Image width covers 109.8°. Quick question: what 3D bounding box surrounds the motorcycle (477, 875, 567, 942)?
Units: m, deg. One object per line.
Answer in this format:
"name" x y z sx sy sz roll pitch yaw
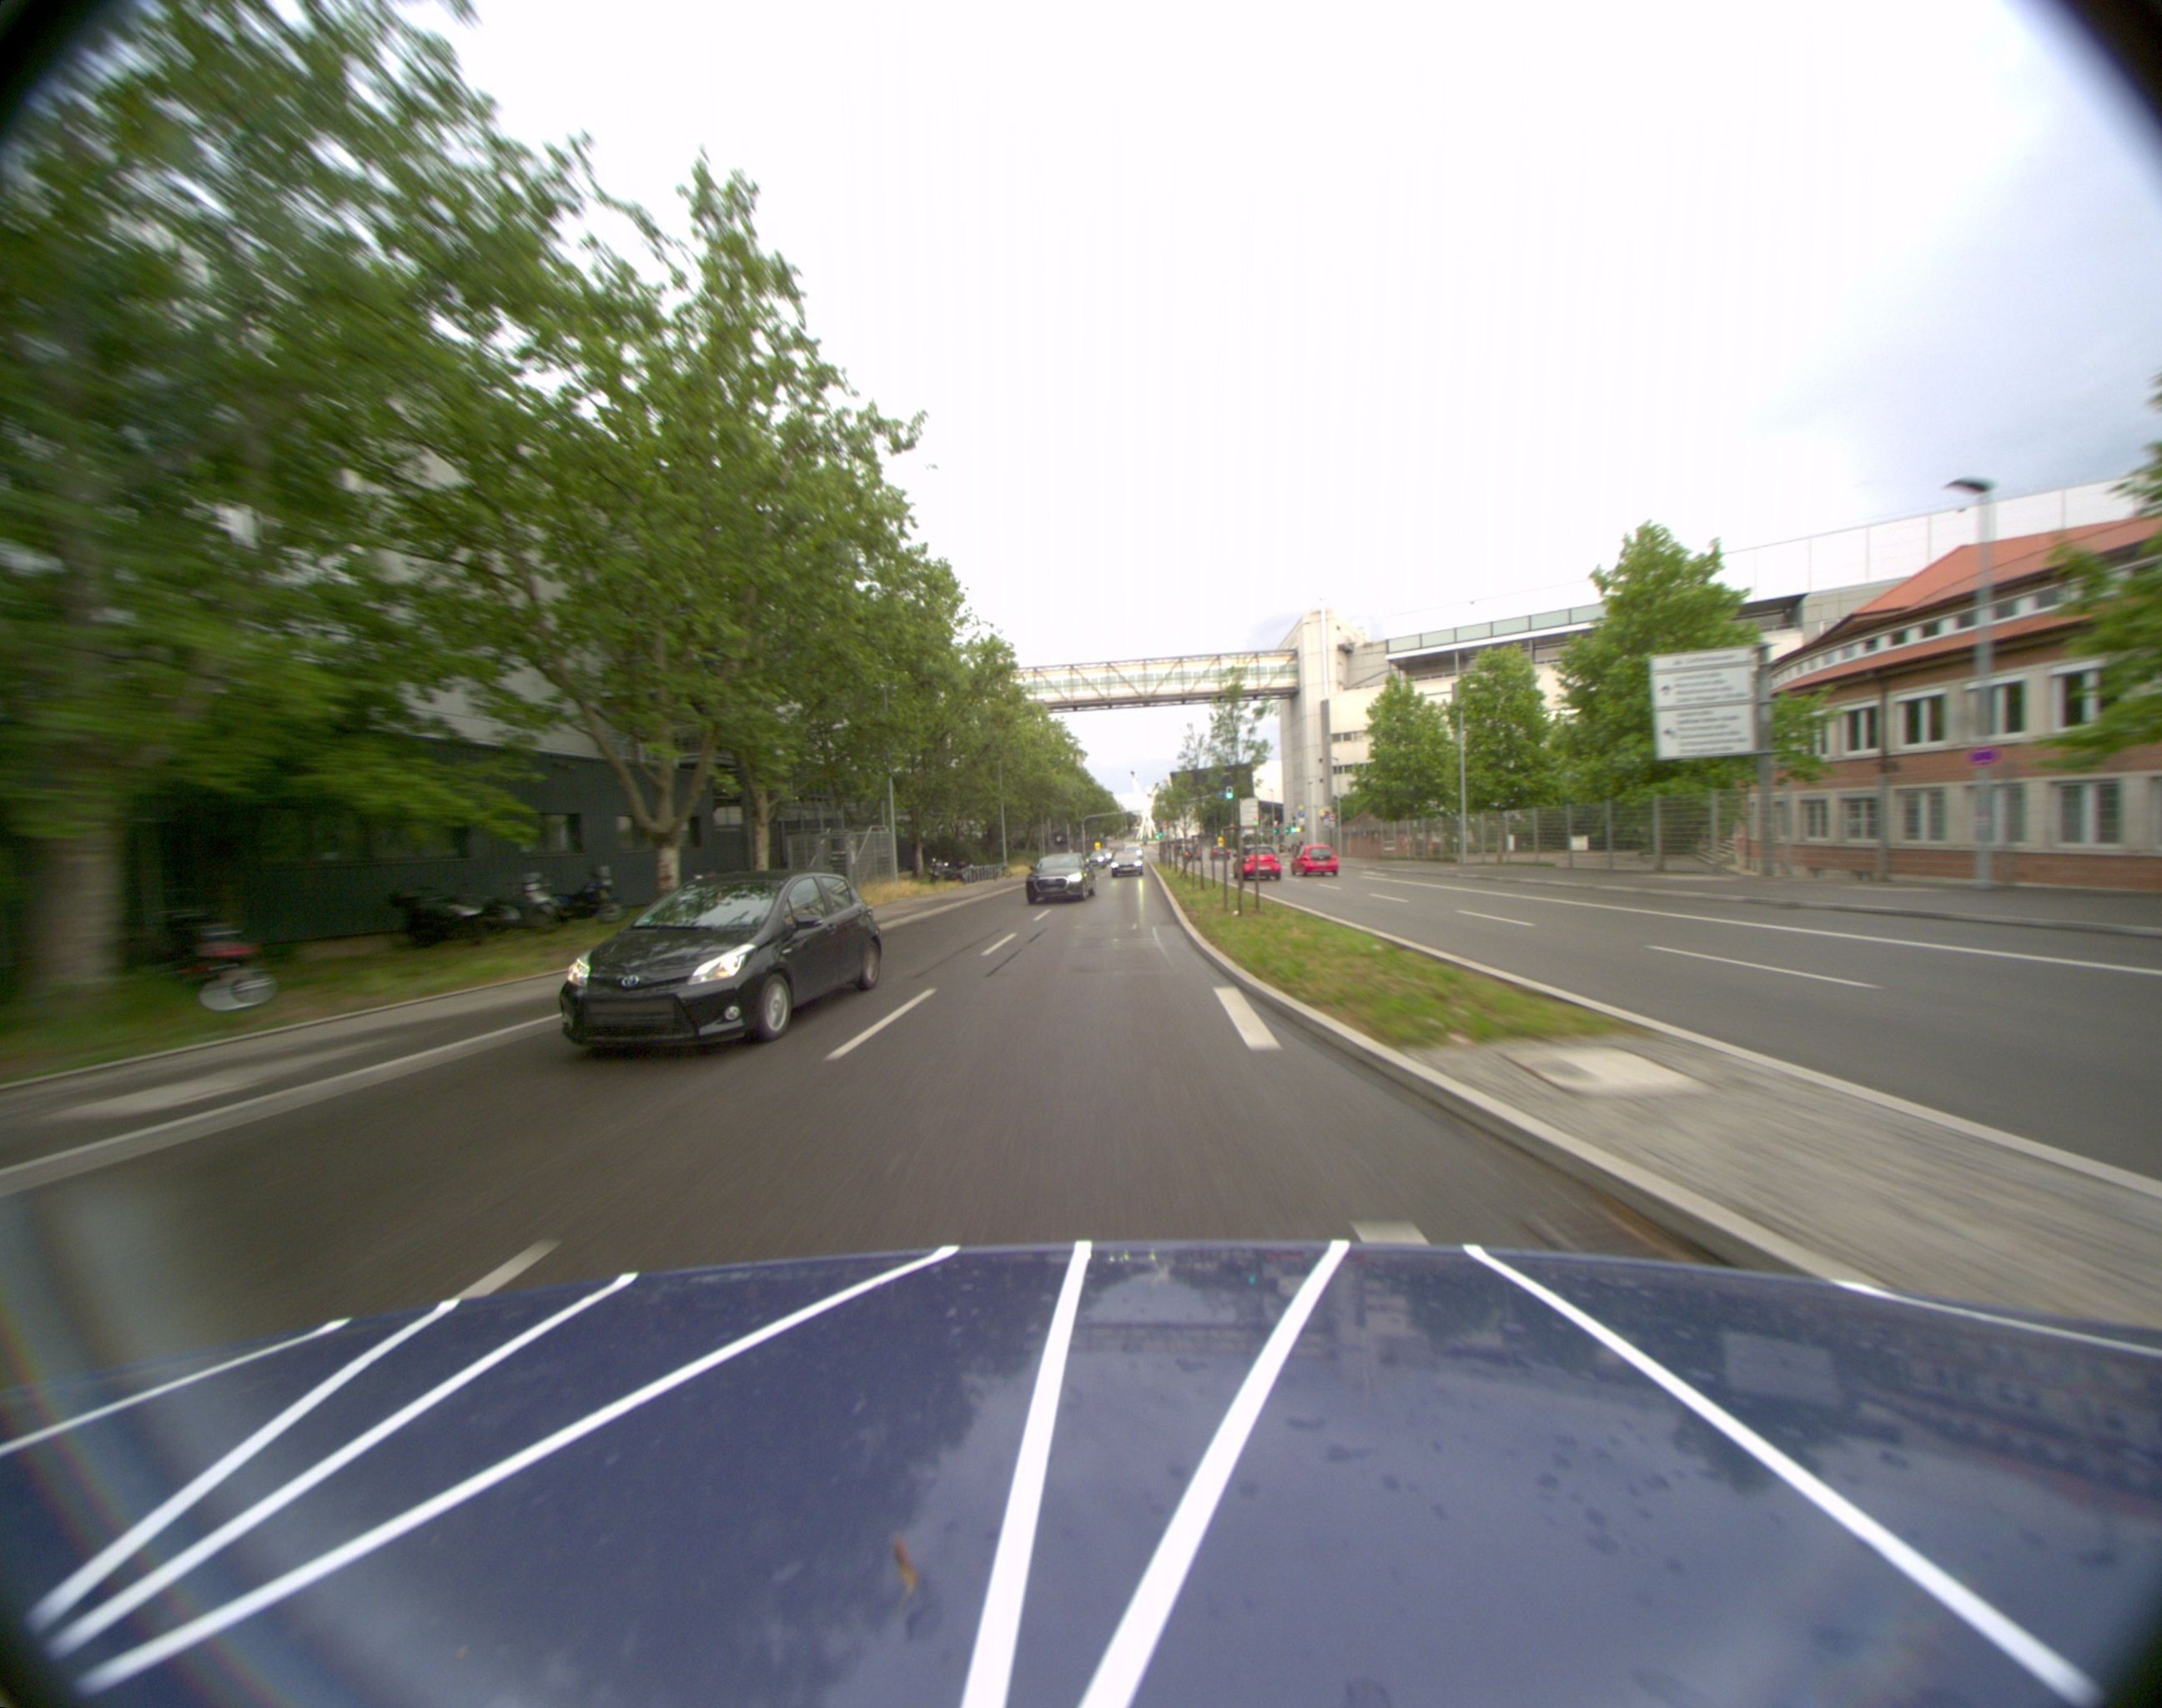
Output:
"motorcycle" -12.513 1.207 17.032 1.502 1.357 0.506 -4 1 -1

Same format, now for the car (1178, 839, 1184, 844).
"car" 32.226 -4.174 244.867 1.775 1.580 4.486 -1 1 6

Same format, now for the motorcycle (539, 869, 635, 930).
"motorcycle" -12.294 1.131 18.941 1.933 1.357 0.506 -4 1 -1

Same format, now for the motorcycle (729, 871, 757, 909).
"motorcycle" -10.998 1.154 24.797 0.478 1.139 1.895 -5 1 -16

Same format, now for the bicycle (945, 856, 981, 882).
"bicycle" -6.353 0.805 41.101 1.864 1.340 0.447 -2 1 -8

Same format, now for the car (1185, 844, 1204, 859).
"car" 11.534 -0.258 77.399 1.581 1.396 4.112 -1 1 5

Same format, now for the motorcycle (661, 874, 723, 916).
"motorcycle" -11.757 1.251 22.988 1.641 1.139 0.560 -4 1 15

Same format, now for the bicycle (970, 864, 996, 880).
"bicycle" -6.019 1.100 46.729 1.555 0.953 0.393 -2 1 4

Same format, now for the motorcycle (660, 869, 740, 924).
"motorcycle" -8.917 0.996 17.794 1.656 1.143 0.493 -4 1 12

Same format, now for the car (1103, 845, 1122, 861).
"car" 3.526 -0.092 84.078 1.819 1.571 4.333 -3 1 4

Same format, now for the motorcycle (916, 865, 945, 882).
"motorcycle" -9.446 1.205 47.696 1.611 0.996 0.577 -2 1 4

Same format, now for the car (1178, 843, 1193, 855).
"car" 13.898 -0.688 101.428 1.775 1.580 4.486 -1 1 6

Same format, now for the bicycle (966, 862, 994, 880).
"bicycle" -6.030 1.018 45.257 1.555 0.999 0.393 -2 1 4

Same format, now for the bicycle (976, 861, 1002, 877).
"bicycle" -5.846 0.943 48.054 1.555 0.999 0.393 -2 1 4

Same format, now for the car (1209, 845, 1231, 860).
"car" 14.351 -0.181 78.470 1.777 1.396 4.615 -2 1 5

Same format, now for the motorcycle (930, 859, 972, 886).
"motorcycle" -6.384 0.928 37.279 2.011 1.266 0.442 -1 1 17

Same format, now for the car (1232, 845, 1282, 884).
"car" 7.733 0.438 33.683 1.588 1.596 3.856 -1 1 4

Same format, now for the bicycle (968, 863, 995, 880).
"bicycle" -6.048 1.077 46.083 1.555 0.999 0.393 -2 1 4

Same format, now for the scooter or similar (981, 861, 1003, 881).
"scooter or similar" -5.163 0.988 44.069 1.216 1.085 0.312 -2 1 0

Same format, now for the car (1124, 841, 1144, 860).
"car" 5.836 -0.376 83.431 2.034 1.920 4.333 -3 1 4

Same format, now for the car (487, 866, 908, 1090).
"car" -3.442 0.986 8.065 1.748 1.461 4.641 -3 1 4

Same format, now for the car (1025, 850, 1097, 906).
"car" -0.540 0.707 25.654 1.819 1.536 5.609 -3 1 4

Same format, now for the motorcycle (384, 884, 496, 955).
"motorcycle" -12.691 1.303 15.046 1.918 1.250 0.491 -4 1 10

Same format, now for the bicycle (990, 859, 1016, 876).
"bicycle" -5.025 0.873 48.996 1.555 0.999 0.393 -2 1 4

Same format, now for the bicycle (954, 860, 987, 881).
"bicycle" -6.251 0.929 42.952 1.793 1.160 0.448 -2 1 -2

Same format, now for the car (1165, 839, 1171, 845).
"car" 26.487 -3.699 231.902 1.775 1.580 4.486 -1 1 6

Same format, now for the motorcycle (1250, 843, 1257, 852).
"motorcycle" 24.477 -0.957 107.974 0.568 1.156 2.039 -1 1 3

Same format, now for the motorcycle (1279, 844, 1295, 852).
"motorcycle" 26.217 -0.747 96.827 0.628 1.021 2.165 -2 1 -30

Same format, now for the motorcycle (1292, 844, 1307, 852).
"motorcycle" 27.210 -0.747 94.758 0.627 1.021 2.166 -2 1 -22

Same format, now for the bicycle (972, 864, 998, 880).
"bicycle" -5.968 1.091 47.142 1.555 0.953 0.393 -2 1 4

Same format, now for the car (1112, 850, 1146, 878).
"car" 2.804 0.571 44.211 1.819 1.536 4.065 -1 -1 4

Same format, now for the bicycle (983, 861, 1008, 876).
"bicycle" -5.706 0.982 50.858 1.611 0.934 0.387 -2 1 4

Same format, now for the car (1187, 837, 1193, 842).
"car" 34.591 -4.547 240.529 1.775 1.580 4.486 -1 1 6

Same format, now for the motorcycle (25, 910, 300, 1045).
"motorcycle" -9.366 1.232 7.814 1.854 1.184 0.521 -2 1 -11

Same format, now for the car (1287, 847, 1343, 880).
"car" 11.221 0.421 36.675 1.719 1.429 3.772 -1 1 3

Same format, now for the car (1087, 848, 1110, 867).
"car" 1.660 0.281 69.249 1.825 1.581 4.333 -3 1 4
